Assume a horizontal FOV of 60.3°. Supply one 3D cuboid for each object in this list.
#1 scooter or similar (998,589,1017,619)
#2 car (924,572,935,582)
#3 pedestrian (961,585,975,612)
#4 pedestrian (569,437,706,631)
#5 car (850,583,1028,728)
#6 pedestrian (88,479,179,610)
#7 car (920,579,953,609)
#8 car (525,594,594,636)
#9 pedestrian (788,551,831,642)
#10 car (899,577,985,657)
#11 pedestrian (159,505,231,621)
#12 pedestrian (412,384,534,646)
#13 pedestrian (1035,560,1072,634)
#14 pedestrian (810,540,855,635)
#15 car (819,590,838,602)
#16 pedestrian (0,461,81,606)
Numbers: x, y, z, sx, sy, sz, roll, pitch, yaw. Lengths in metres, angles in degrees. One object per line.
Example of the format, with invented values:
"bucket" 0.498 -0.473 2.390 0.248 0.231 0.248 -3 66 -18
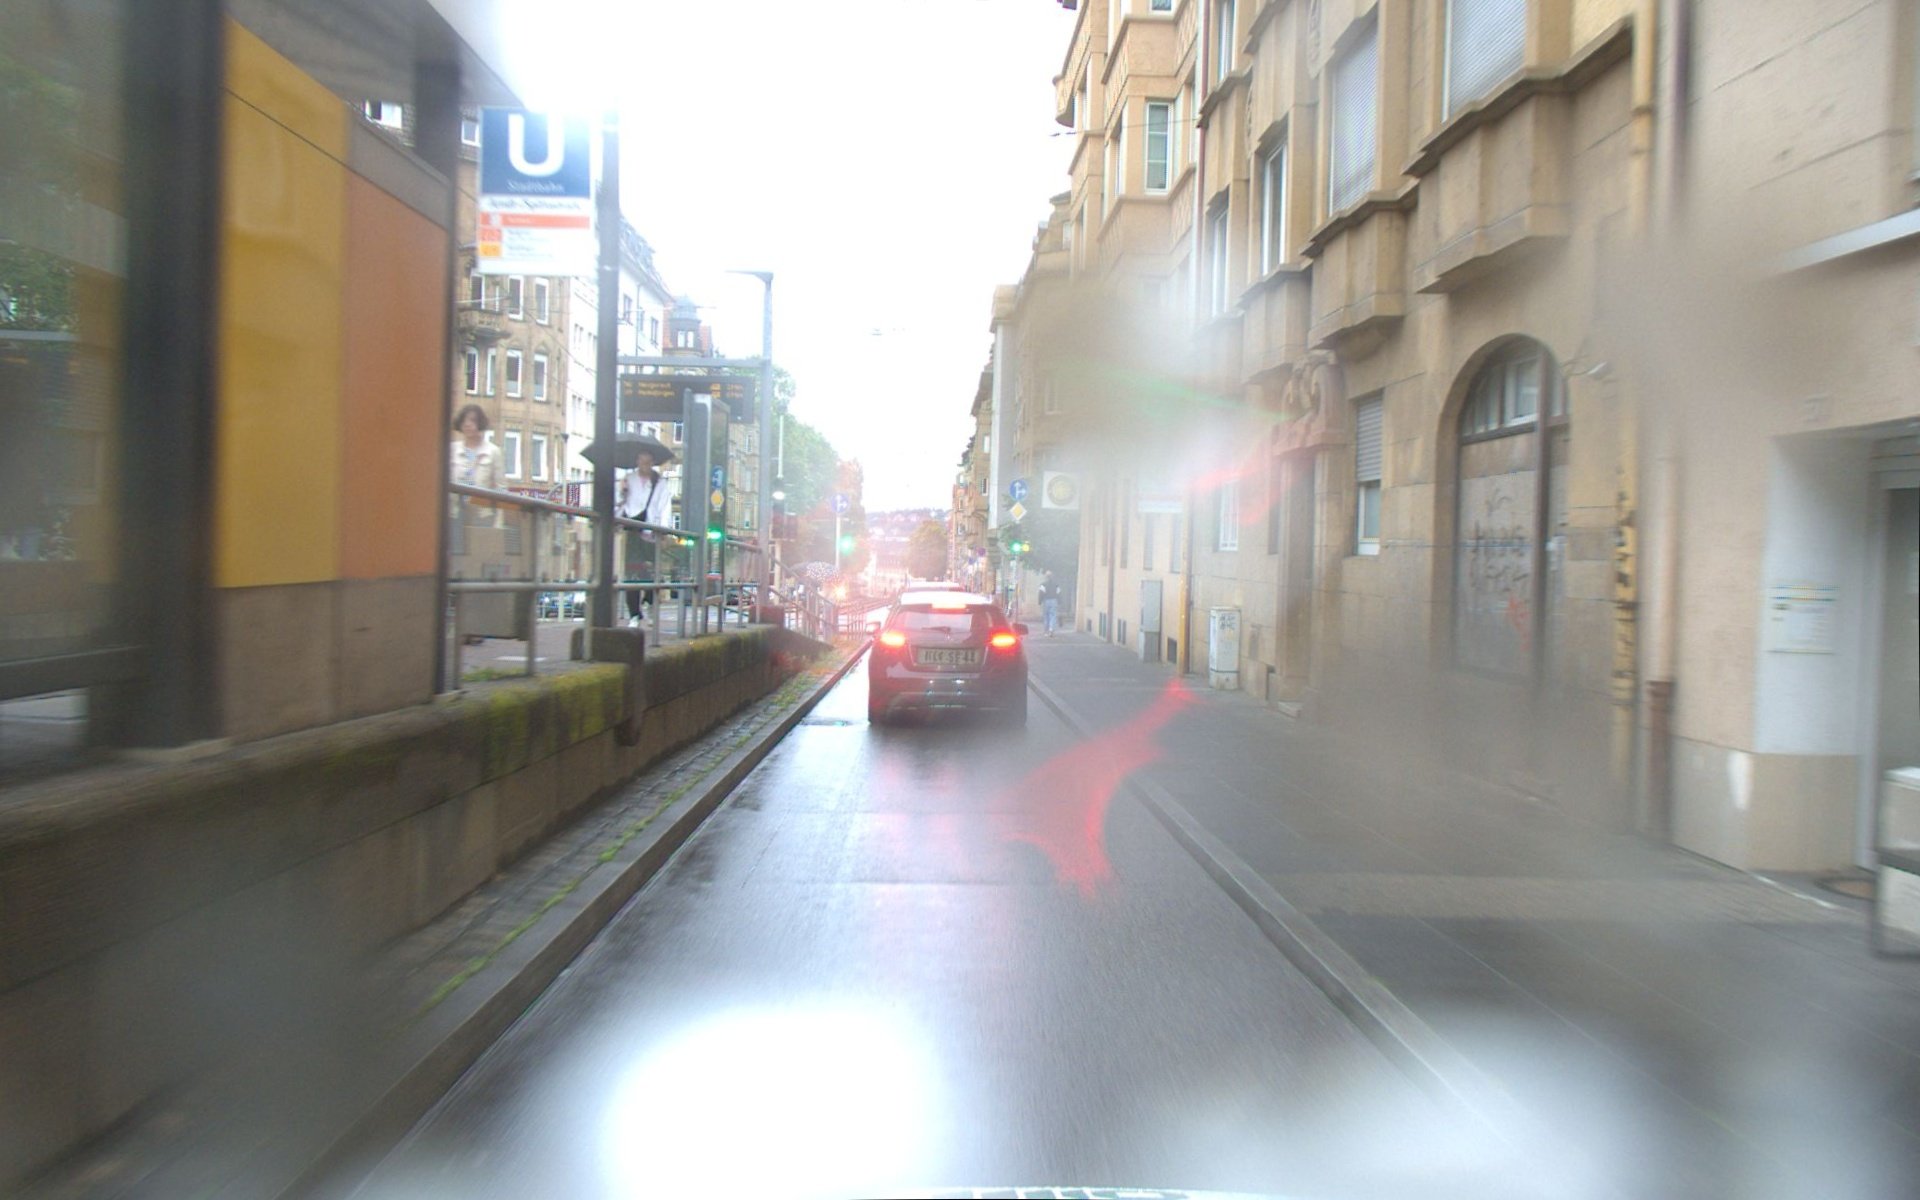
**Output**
"scooter or similar" 1.965 0.159 68.864 0.625 1.231 1.551 0 0 -5
"car" -4.440 -3.293 240.898 1.581 1.340 3.999 2 0 -1
"pedestrian" 0.528 -0.131 110.992 0.926 1.800 1.014 0 0 -3
"pedestrian" -3.137 -0.627 16.199 1.091 1.805 1.111 1 0 -1
"car" -0.198 0.562 19.255 1.828 1.477 4.000 1 1 1
"pedestrian" -11.400 -0.753 22.840 0.728 1.726 0.882 2 -2 -1
"car" -1.285 -0.327 89.646 1.729 1.586 4.744 0 0 -1
"car" -15.618 0.571 64.728 1.610 1.523 4.763 1 1 -1
"pedestrian" -3.455 -0.083 38.035 0.879 2.049 0.947 1 0 -1
"car" -0.318 0.300 33.433 1.615 1.477 4.000 1 1 1
"pedestrian" -11.440 -0.541 24.749 0.729 1.676 0.640 -2 -2 -1
"pedestrian" -3.480 -0.592 11.861 0.630 1.805 0.710 1 0 -1
"pedestrian" 2.455 -0.091 43.388 0.880 1.872 0.969 -3 0 4
"pedestrian" -2.813 -0.271 36.583 0.907 2.049 0.947 1 0 -1
"car" -16.019 -0.445 201.718 1.908 1.421 4.273 -1 0 -1
"pedestrian" -11.179 -0.798 20.102 0.651 1.728 0.688 0 1 -5
